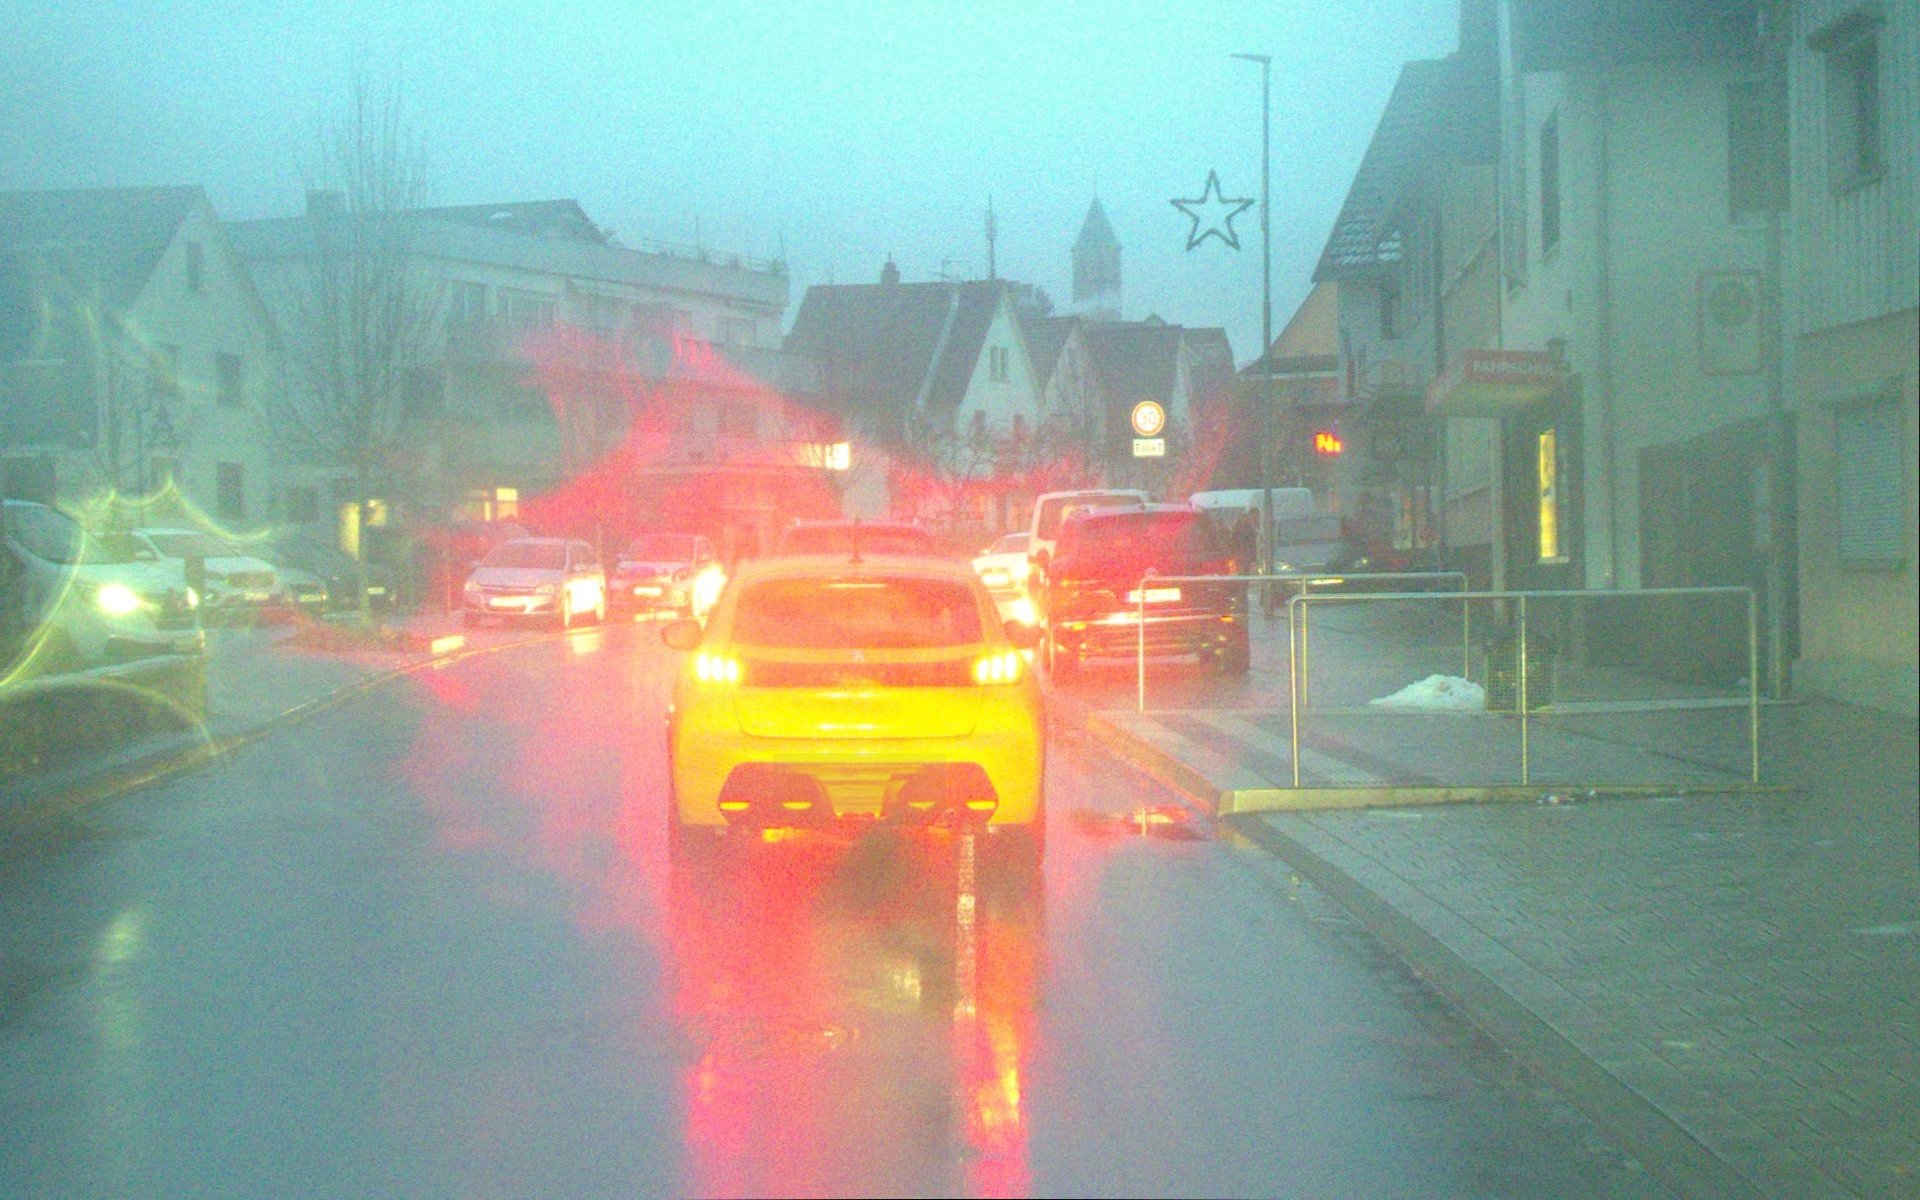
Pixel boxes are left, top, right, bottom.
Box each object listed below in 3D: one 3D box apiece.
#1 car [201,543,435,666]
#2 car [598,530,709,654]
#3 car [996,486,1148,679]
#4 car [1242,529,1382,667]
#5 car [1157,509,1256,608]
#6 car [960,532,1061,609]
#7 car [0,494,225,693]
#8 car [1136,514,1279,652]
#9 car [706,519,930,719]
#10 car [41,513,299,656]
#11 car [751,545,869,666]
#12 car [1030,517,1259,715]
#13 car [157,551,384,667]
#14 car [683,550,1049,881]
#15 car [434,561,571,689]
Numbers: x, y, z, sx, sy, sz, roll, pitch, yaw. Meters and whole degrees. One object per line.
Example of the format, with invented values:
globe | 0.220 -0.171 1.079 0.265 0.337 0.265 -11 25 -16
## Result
car | -11.938 0.101 63.788 4.382 2.159 1.995 0 -2 43
car | -5.773 -0.121 65.112 1.919 2.208 3.975 1 -2 -3
car | 1.480 -0.180 46.936 1.870 2.461 4.443 1 -2 0
car | 6.040 0.002 59.431 1.993 2.241 4.000 1 -2 0
car | 5.036 -0.812 69.804 1.870 1.828 4.442 1 -1 5
car | 1.114 -0.622 74.262 1.488 1.521 3.412 1 -2 13
car | -10.042 -0.126 33.422 5.399 1.811 1.711 2 0 12
car | 3.832 -0.226 53.877 1.870 1.992 4.443 1 -1 0
car | -1.187 0.129 30.180 1.766 1.623 3.586 1 1 0
car | -13.132 -0.223 57.024 4.382 2.244 1.995 0 -2 43
car | -2.744 0.140 63.765 1.993 2.105 4.000 1 -2 0
car | 1.784 0.147 34.502 1.997 1.858 4.083 0 0 -1
car | -12.280 0.176 61.125 4.166 1.969 1.818 0 -2 43
car | -0.446 0.482 16.439 1.563 1.408 3.018 1 1 -1
car | -7.570 0.456 57.182 1.919 2.021 3.975 1 -2 -3
